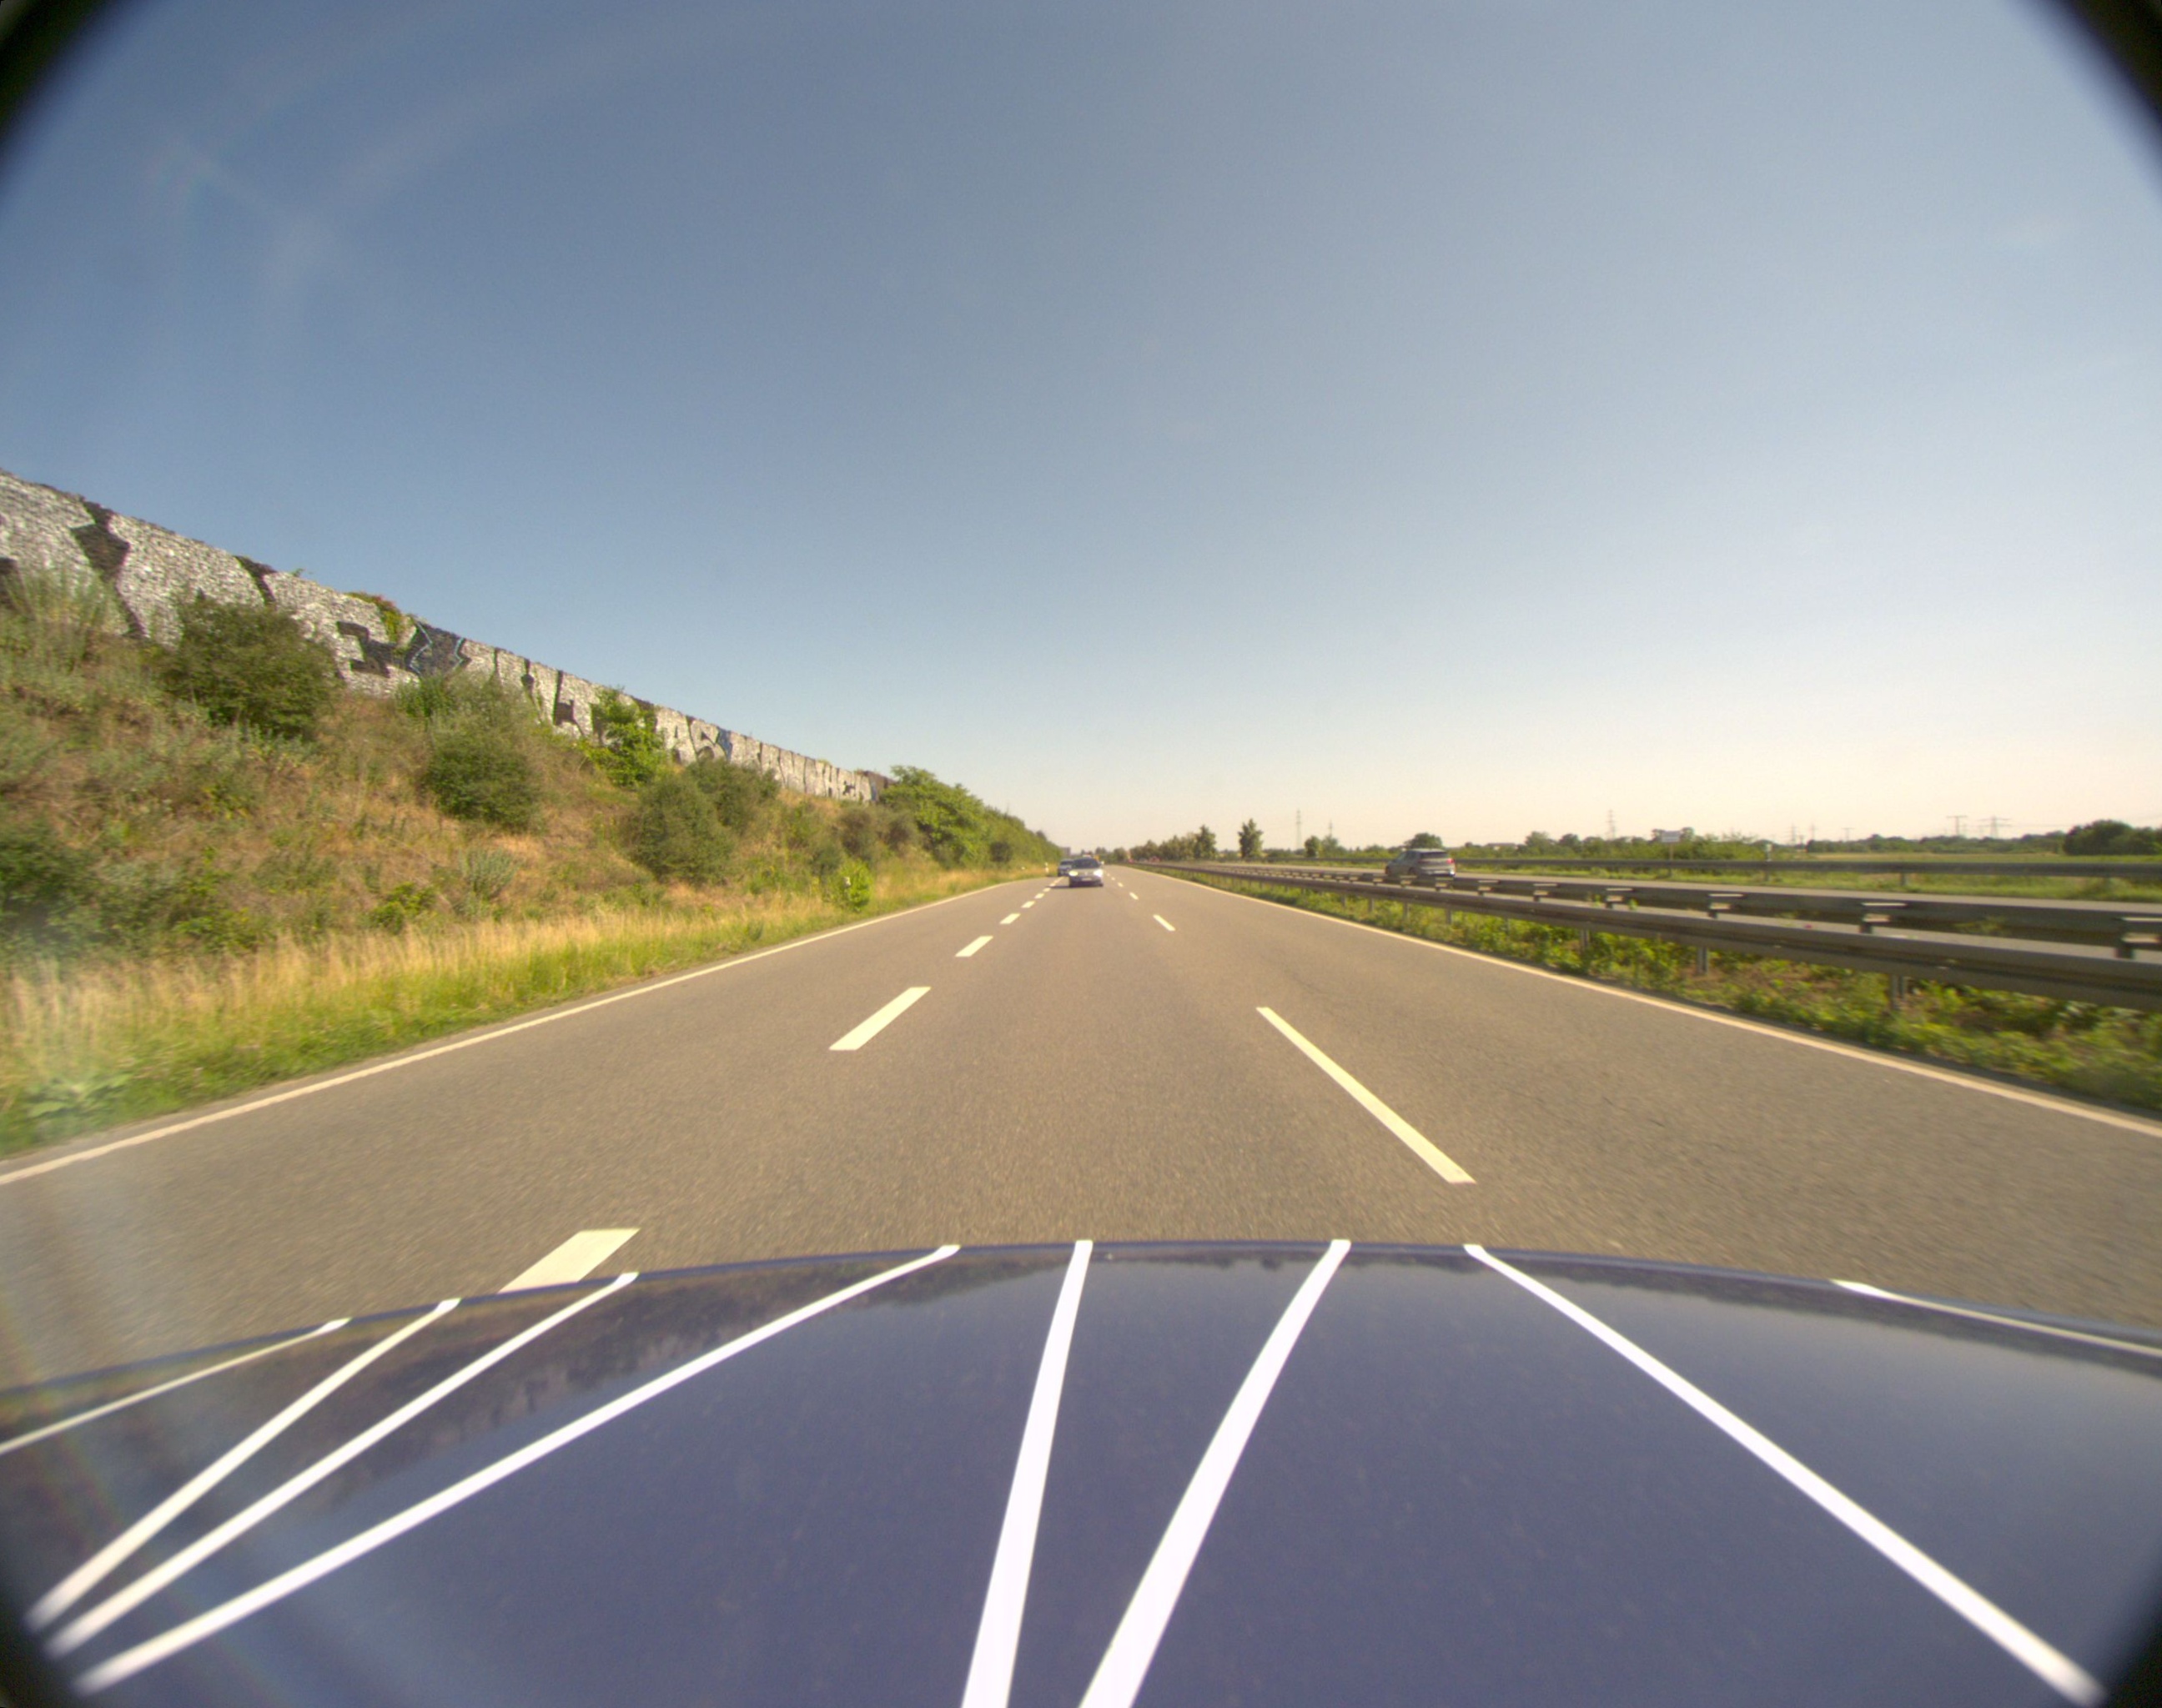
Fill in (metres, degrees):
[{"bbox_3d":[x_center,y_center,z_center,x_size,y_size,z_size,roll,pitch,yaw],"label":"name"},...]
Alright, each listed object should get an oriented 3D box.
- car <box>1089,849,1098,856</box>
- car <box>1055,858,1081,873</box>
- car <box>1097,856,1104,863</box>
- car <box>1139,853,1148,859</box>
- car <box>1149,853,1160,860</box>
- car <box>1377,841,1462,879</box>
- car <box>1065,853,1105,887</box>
[{"bbox_3d":[2.401,-0.330,146.958,1.790,1.212,3.999,-2,0,0],"label":"car"},{"bbox_3d":[-1.094,0.980,66.374,1.854,1.212,4.001,-3,0,4],"label":"car"},{"bbox_3d":[5.318,1.409,205.050,1.790,1.659,3.999,-2,0,-1],"label":"car"},{"bbox_3d":[15.799,0.543,192.370,1.717,1.442,4.323,-2,0,-1],"label":"car"},{"bbox_3d":[16.002,0.601,166.061,1.872,1.426,4.935,-4,0,0],"label":"car"},{"bbox_3d":[15.330,0.266,34.669,1.704,1.476,4.620,-4,0,0],"label":"car"},{"bbox_3d":[0.275,0.797,40.814,1.854,1.635,4.001,-2,0,4],"label":"car"}]
